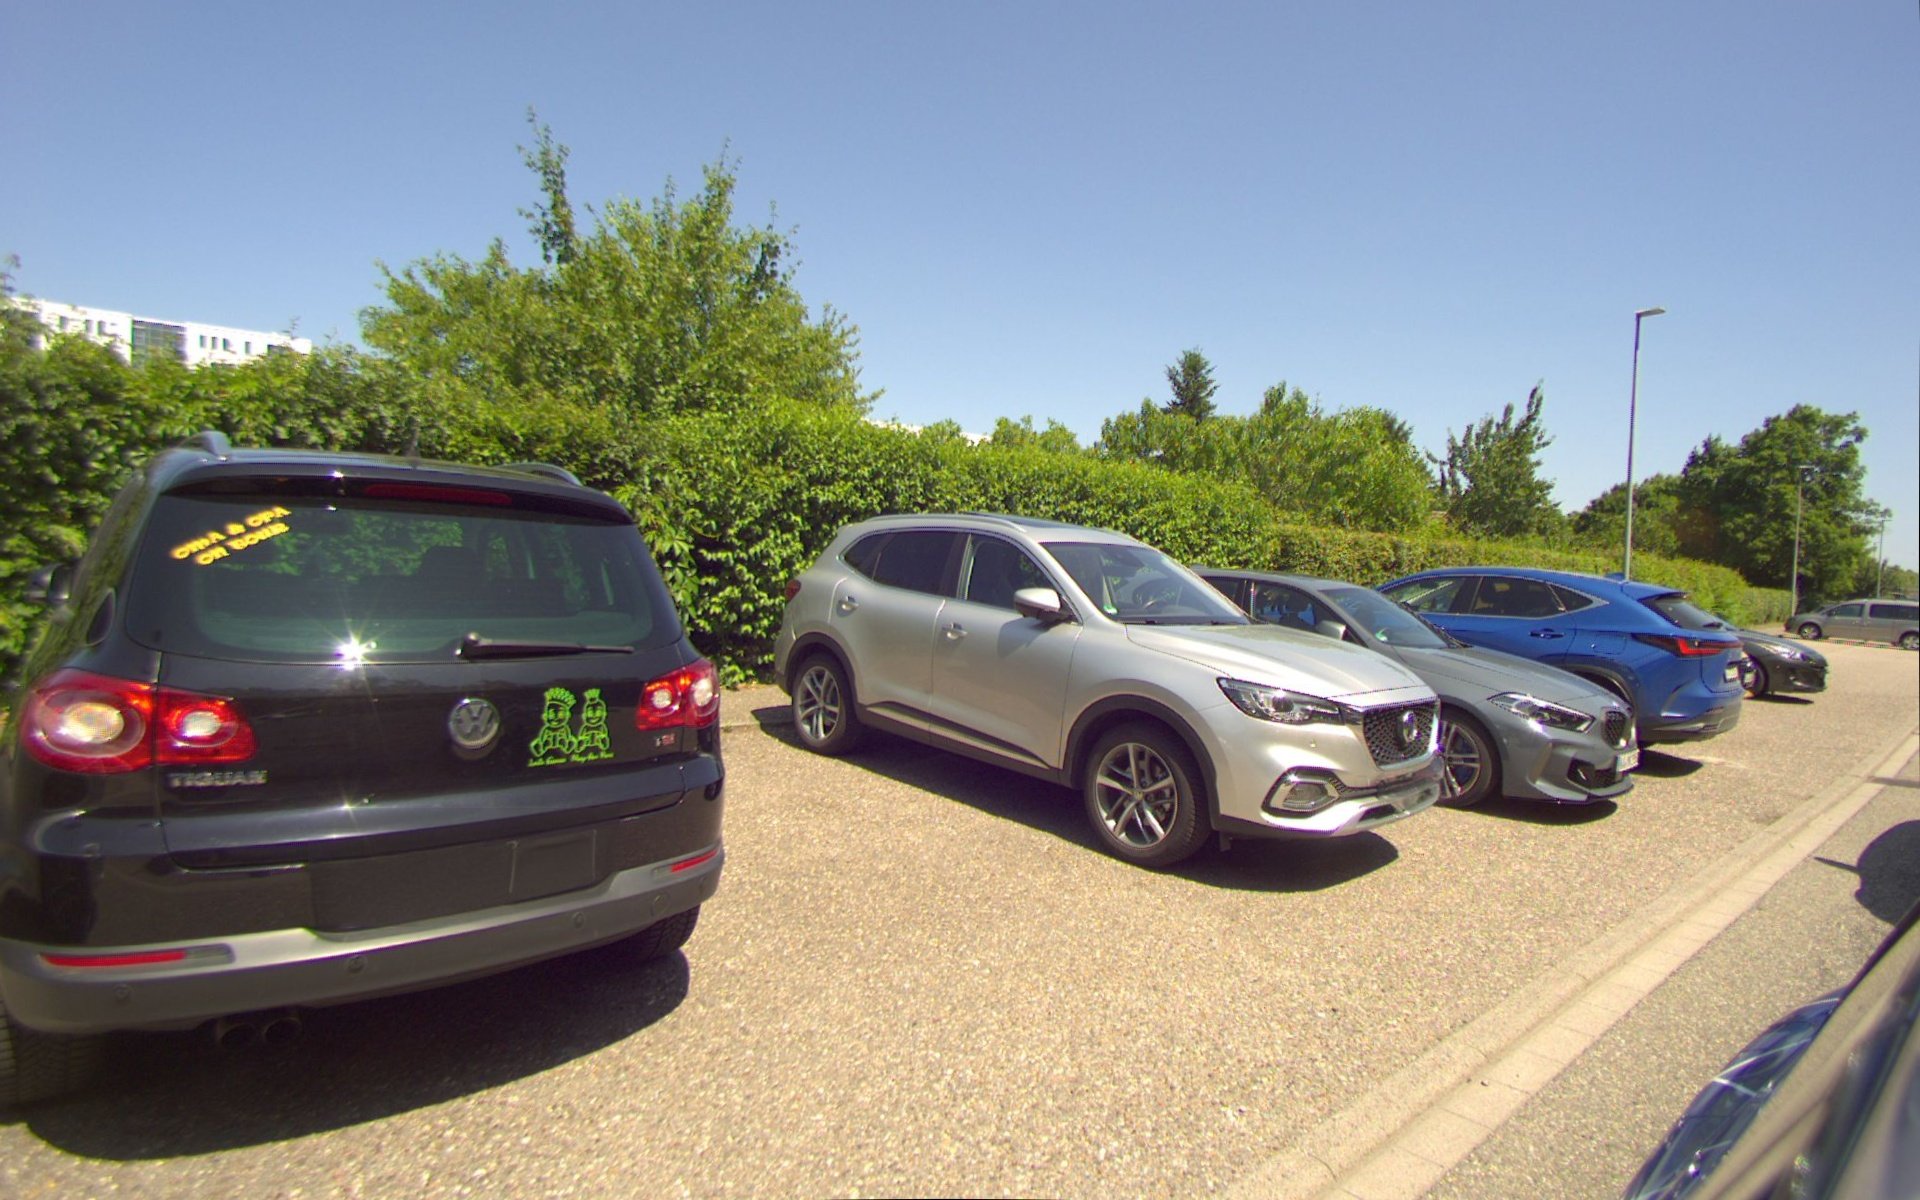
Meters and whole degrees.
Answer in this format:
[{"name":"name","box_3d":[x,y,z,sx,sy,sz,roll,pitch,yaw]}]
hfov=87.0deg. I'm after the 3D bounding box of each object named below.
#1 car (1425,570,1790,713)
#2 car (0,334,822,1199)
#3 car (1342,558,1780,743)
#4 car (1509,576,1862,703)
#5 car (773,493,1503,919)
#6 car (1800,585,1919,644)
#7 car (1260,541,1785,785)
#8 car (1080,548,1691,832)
[{"name":"car","box_3d":[9.111,0.471,14.530,1.620,1.463,4.037,1,5,-40]},{"name":"car","box_3d":[-2.369,0.236,3.845,1.735,1.706,3.983,1,4,-40]},{"name":"car","box_3d":[6.845,0.438,11.905,1.620,1.532,4.037,1,5,-40]},{"name":"car","box_3d":[11.426,0.512,16.220,1.620,1.434,4.253,1,5,-40]},{"name":"car","box_3d":[0.745,0.281,6.255,1.746,1.661,4.168,0,5,-42]},{"name":"car","box_3d":[35.448,0.573,38.976,1.668,1.872,4.487,1,5,-44]},{"name":"car","box_3d":[5.189,0.402,9.826,1.644,1.661,4.037,1,5,-40]},{"name":"car","box_3d":[3.043,0.455,7.954,1.650,1.426,4.036,1,5,-41]}]
